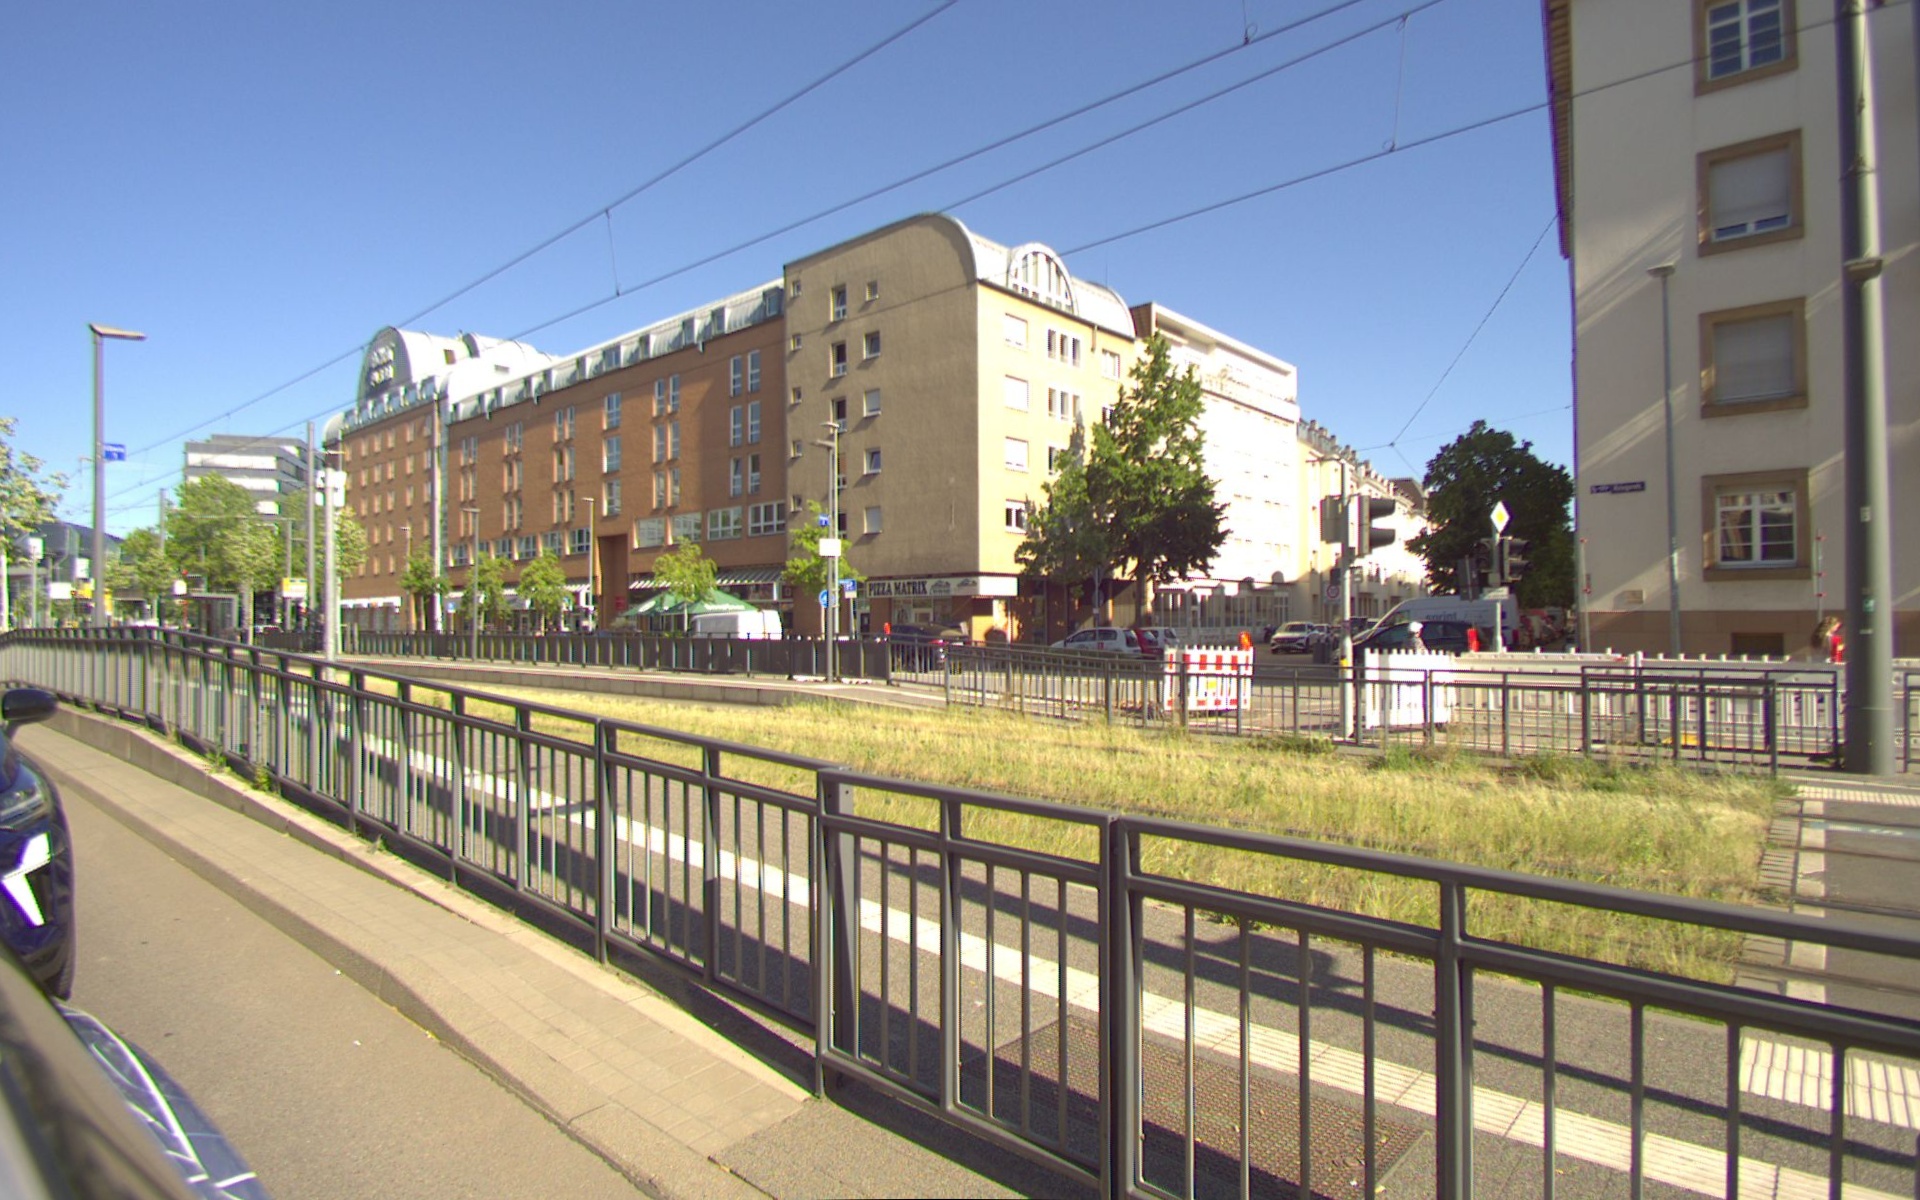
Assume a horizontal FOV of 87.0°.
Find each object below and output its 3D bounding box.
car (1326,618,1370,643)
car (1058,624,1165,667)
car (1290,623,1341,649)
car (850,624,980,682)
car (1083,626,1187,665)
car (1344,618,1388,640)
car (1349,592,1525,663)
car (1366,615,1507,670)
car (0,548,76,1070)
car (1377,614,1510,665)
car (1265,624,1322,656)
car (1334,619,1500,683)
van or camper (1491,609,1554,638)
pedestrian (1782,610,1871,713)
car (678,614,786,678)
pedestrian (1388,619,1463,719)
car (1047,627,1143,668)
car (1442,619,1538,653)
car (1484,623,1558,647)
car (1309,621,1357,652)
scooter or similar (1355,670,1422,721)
[{"bbox_3d":[25.297,1.993,65.864,1.993,1.630,4.141,-1,-2,31],"label":"car"},{"bbox_3d":[6.028,1.783,40.376,3.955,1.564,1.457,-1,0,33],"label":"car"},{"bbox_3d":[20.520,2.074,58.289,1.993,1.457,4.141,-1,-2,31],"label":"car"},{"bbox_3d":[-1.457,1.615,32.002,3.996,1.652,1.677,-1,0,39],"label":"car"},{"bbox_3d":[7.337,1.863,42.595,3.997,1.497,1.693,-1,0,40],"label":"car"},{"bbox_3d":[28.284,2.023,70.433,1.995,1.473,4.137,-1,-2,34],"label":"car"},{"bbox_3d":[17.650,0.965,37.580,5.737,2.473,1.979,-1,0,32],"label":"car"},{"bbox_3d":[15.703,1.352,33.381,3.989,1.652,1.848,-1,0,33],"label":"car"},{"bbox_3d":[-5.069,0.713,4.021,4.418,1.597,1.736,-2,1,41],"label":"car"},{"bbox_3d":[16.829,1.336,35.269,3.989,1.652,1.848,-1,0,33],"label":"car"},{"bbox_3d":[17.739,2.090,53.709,1.993,1.630,4.141,-1,-2,31],"label":"car"},{"bbox_3d":[12.975,1.390,28.816,3.994,1.652,1.846,-1,0,37],"label":"car"},{"bbox_3d":[44.866,1.887,80.766,4.332,2.231,1.931,-1,0,32],"label":"van or camper"},{"bbox_3d":[13.555,0.937,15.854,1.020,1.529,0.778,-1,0,41],"label":"pedestrian"},{"bbox_3d":[-9.085,1.742,40.006,1.969,2.314,5.197,-1,0,-41],"label":"car"},{"bbox_3d":[7.325,1.065,15.936,0.792,1.515,0.713,0,-2,-25],"label":"pedestrian"},{"bbox_3d":[5.097,1.769,38.352,3.334,1.438,1.424,-1,0,29],"label":"car"},{"bbox_3d":[25.754,1.714,49.189,3.988,1.567,1.848,-1,0,33],"label":"car"},{"bbox_3d":[34.953,2.169,63.091,3.986,1.440,1.760,-1,0,32],"label":"car"},{"bbox_3d":[22.802,2.209,61.817,1.839,1.730,4.033,-1,0,34],"label":"car"},{"bbox_3d":[6.605,1.466,15.615,0.597,0.725,0.713,0,-2,-28],"label":"scooter or similar"}]
